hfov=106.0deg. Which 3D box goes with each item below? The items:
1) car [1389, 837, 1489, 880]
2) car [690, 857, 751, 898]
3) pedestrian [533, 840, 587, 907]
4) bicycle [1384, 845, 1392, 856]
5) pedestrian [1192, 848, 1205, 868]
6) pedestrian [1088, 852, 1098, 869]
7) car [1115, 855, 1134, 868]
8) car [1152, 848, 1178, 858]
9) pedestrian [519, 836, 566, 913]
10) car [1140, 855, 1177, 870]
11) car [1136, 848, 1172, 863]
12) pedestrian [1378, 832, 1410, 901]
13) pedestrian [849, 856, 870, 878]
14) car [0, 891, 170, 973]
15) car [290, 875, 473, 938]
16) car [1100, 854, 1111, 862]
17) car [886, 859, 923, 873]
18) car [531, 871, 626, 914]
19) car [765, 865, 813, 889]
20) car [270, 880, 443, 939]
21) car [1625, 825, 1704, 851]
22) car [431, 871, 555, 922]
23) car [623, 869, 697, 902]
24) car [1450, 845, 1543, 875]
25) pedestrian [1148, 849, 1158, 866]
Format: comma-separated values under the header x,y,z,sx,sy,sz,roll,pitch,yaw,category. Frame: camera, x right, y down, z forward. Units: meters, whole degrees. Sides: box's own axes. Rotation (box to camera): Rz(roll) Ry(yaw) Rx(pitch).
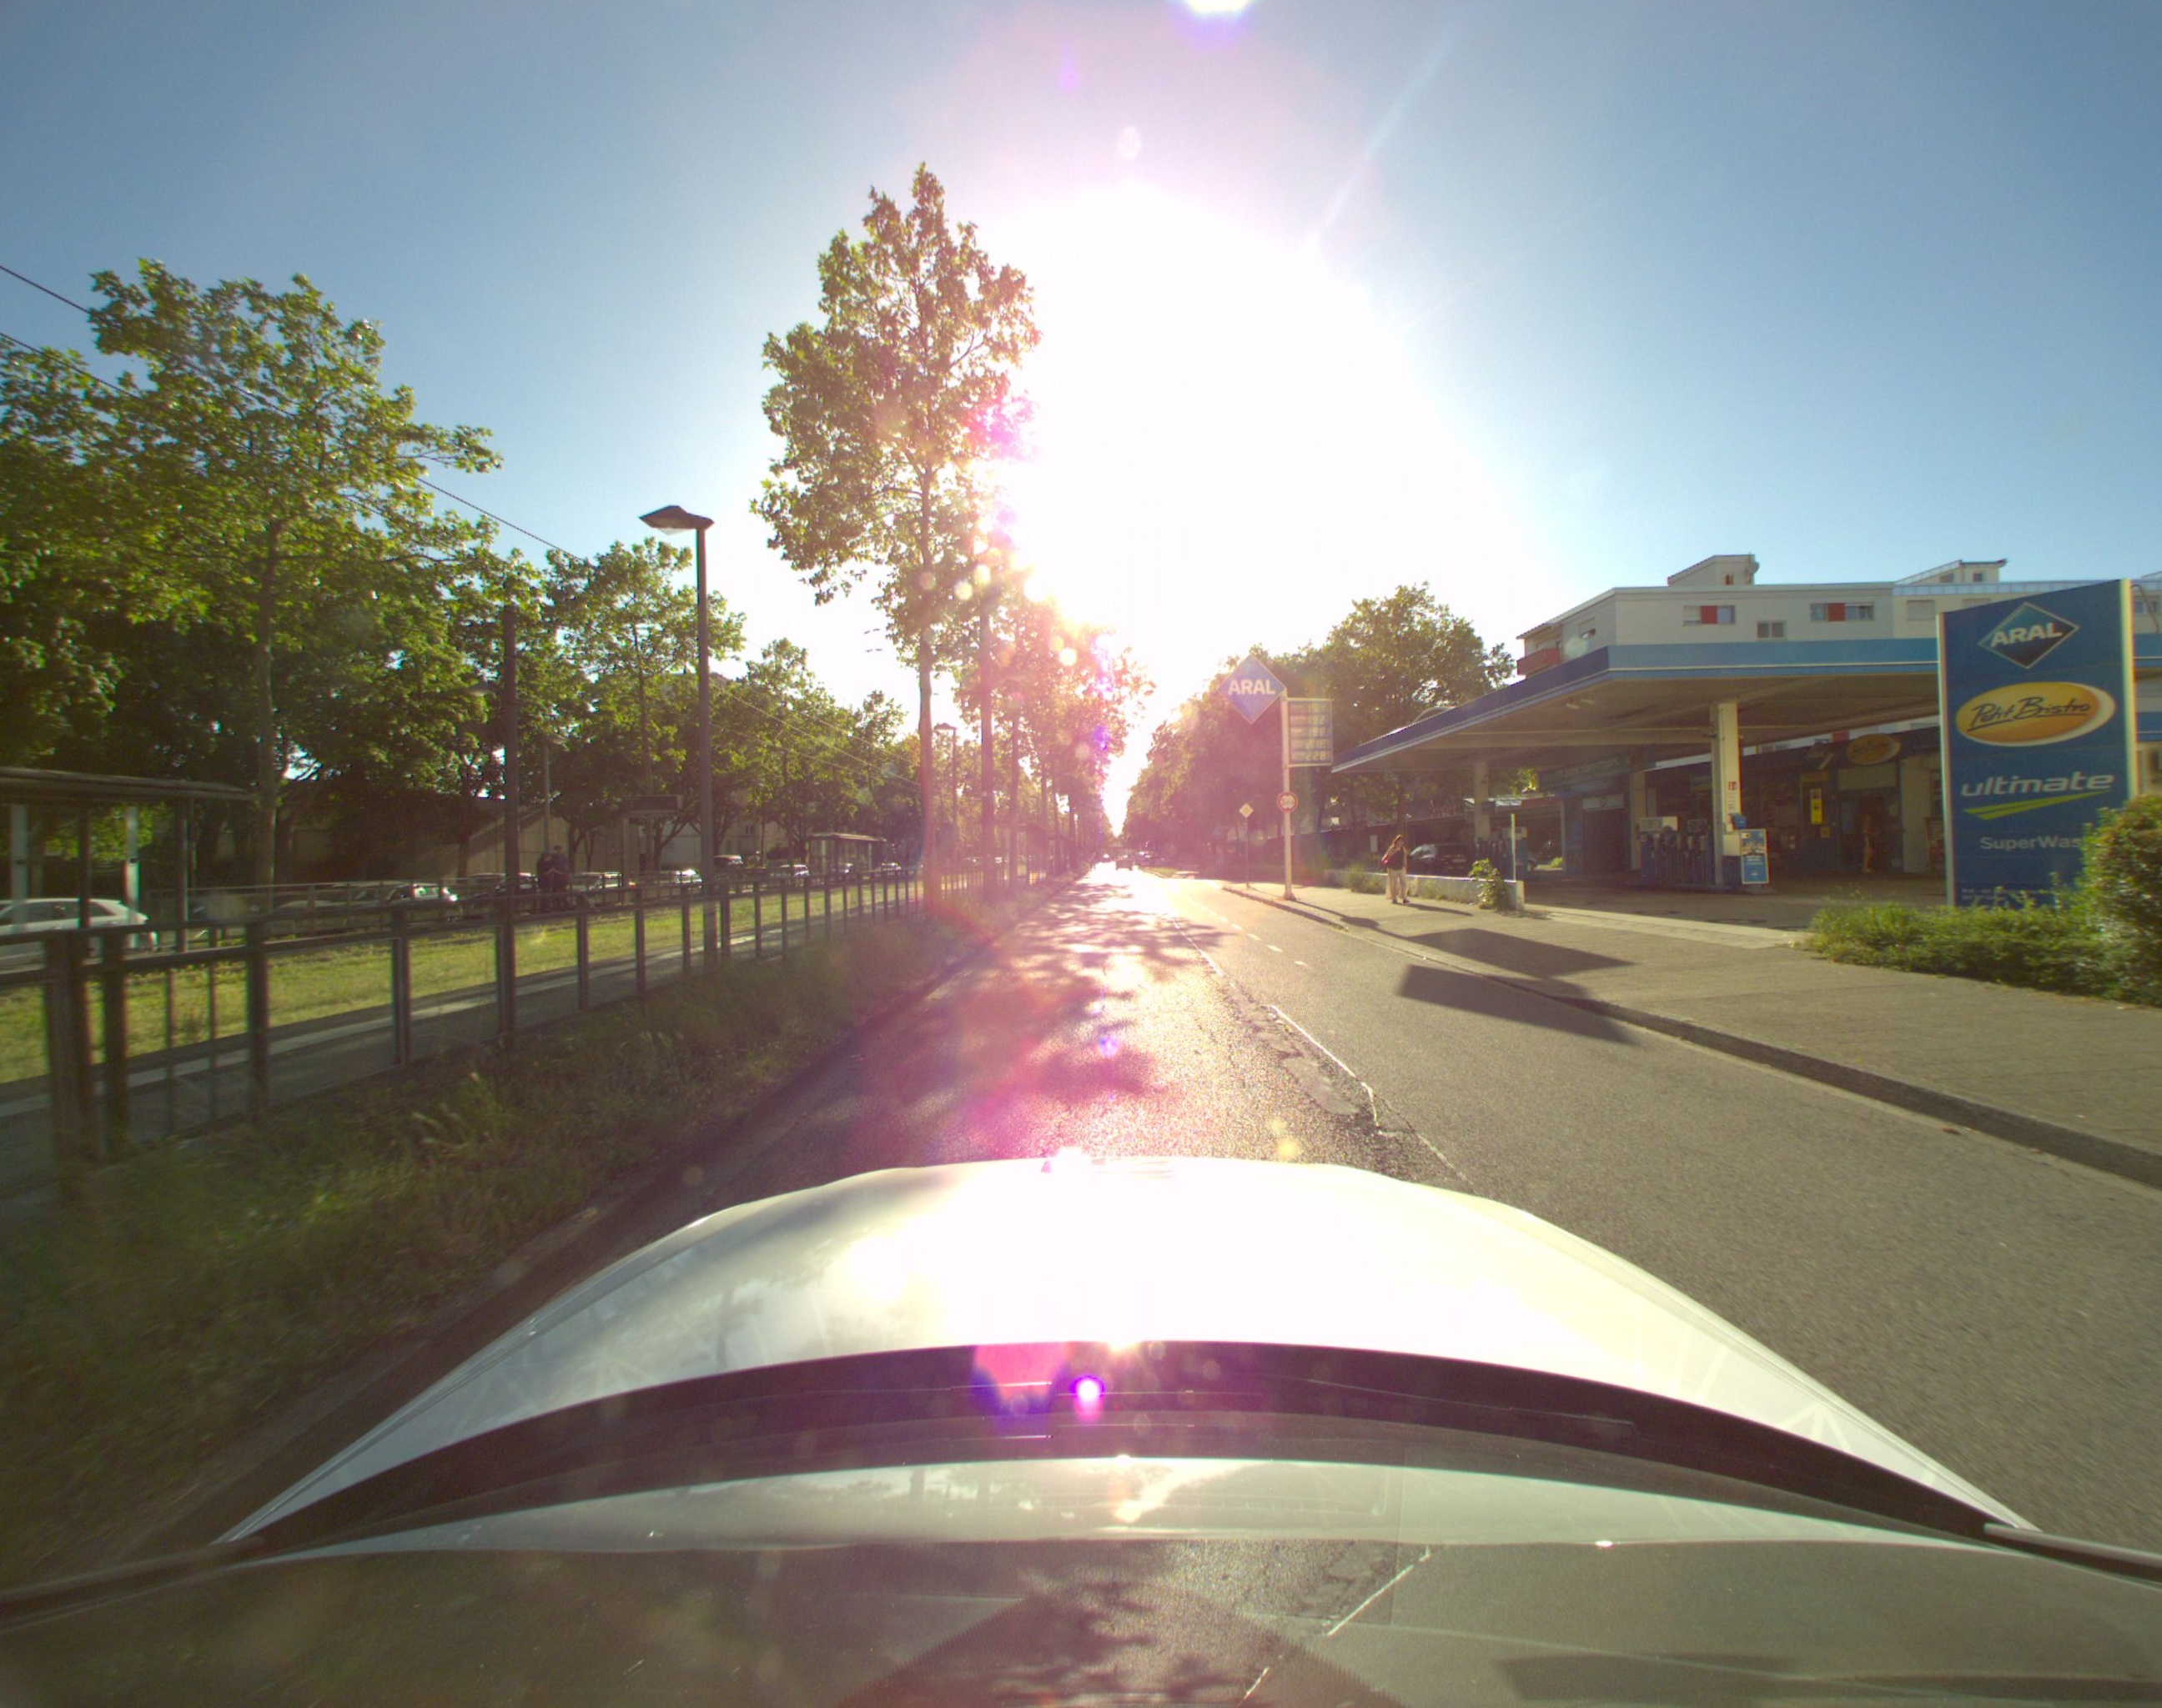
x,y,z,sx,sy,sz,roll,pitch,yaw,category
13.270,0.161,30.452,1.717,1.463,3.999,-1,0,-4,car
-21.081,1.331,47.808,1.708,2.262,3.934,-2,0,1,car
-13.542,0.504,21.170,0.879,1.689,0.755,-1,0,2,pedestrian
33.407,-0.355,88.626,0.591,1.179,1.862,0,0,29,bicycle
11.187,0.358,77.635,0.926,1.885,0.797,-1,0,-12,pedestrian
1.215,0.659,83.114,0.835,1.722,0.834,-2,0,17,pedestrian
4.701,0.811,88.718,1.915,1.411,4.001,-1,0,1,car
13.307,-0.208,128.650,4.208,1.412,1.700,-2,0,-42,car
-13.458,0.503,20.375,0.717,1.867,0.637,-1,0,2,pedestrian
9.277,1.013,97.181,4.011,1.469,1.744,-4,0,-30,car
9.611,0.206,107.535,4.694,1.853,1.810,-2,0,-38,car
7.907,0.318,20.558,0.601,1.701,0.553,-1,0,6,pedestrian
-12.988,0.739,47.800,0.829,1.260,0.805,0,0,30,pedestrian
-20.023,1.468,15.142,1.545,1.354,4.003,-1,0,3,car
-19.497,1.403,22.946,1.587,1.444,3.933,-2,0,3,car
4.594,0.752,151.492,1.842,1.535,3.869,-1,0,2,car
-20.595,1.389,94.944,1.817,1.435,3.849,-2,0,42,car
-21.756,1.637,35.460,1.588,1.636,3.931,-2,0,1,car
-20.757,1.618,58.105,1.706,1.546,3.938,-2,0,4,car
-21.743,1.607,24.676,1.587,1.444,3.933,-2,0,3,car
35.408,-0.935,49.549,1.863,1.503,4.114,-1,0,1,car
-21.793,1.528,30.400,1.587,1.632,3.933,-2,0,3,car
-21.507,1.558,41.757,1.588,1.488,4.021,-2,0,1,car
23.155,0.326,45.446,4.177,1.531,1.983,-1,0,0,car
7.601,0.378,85.808,0.715,1.706,0.647,-3,-1,-33,pedestrian
